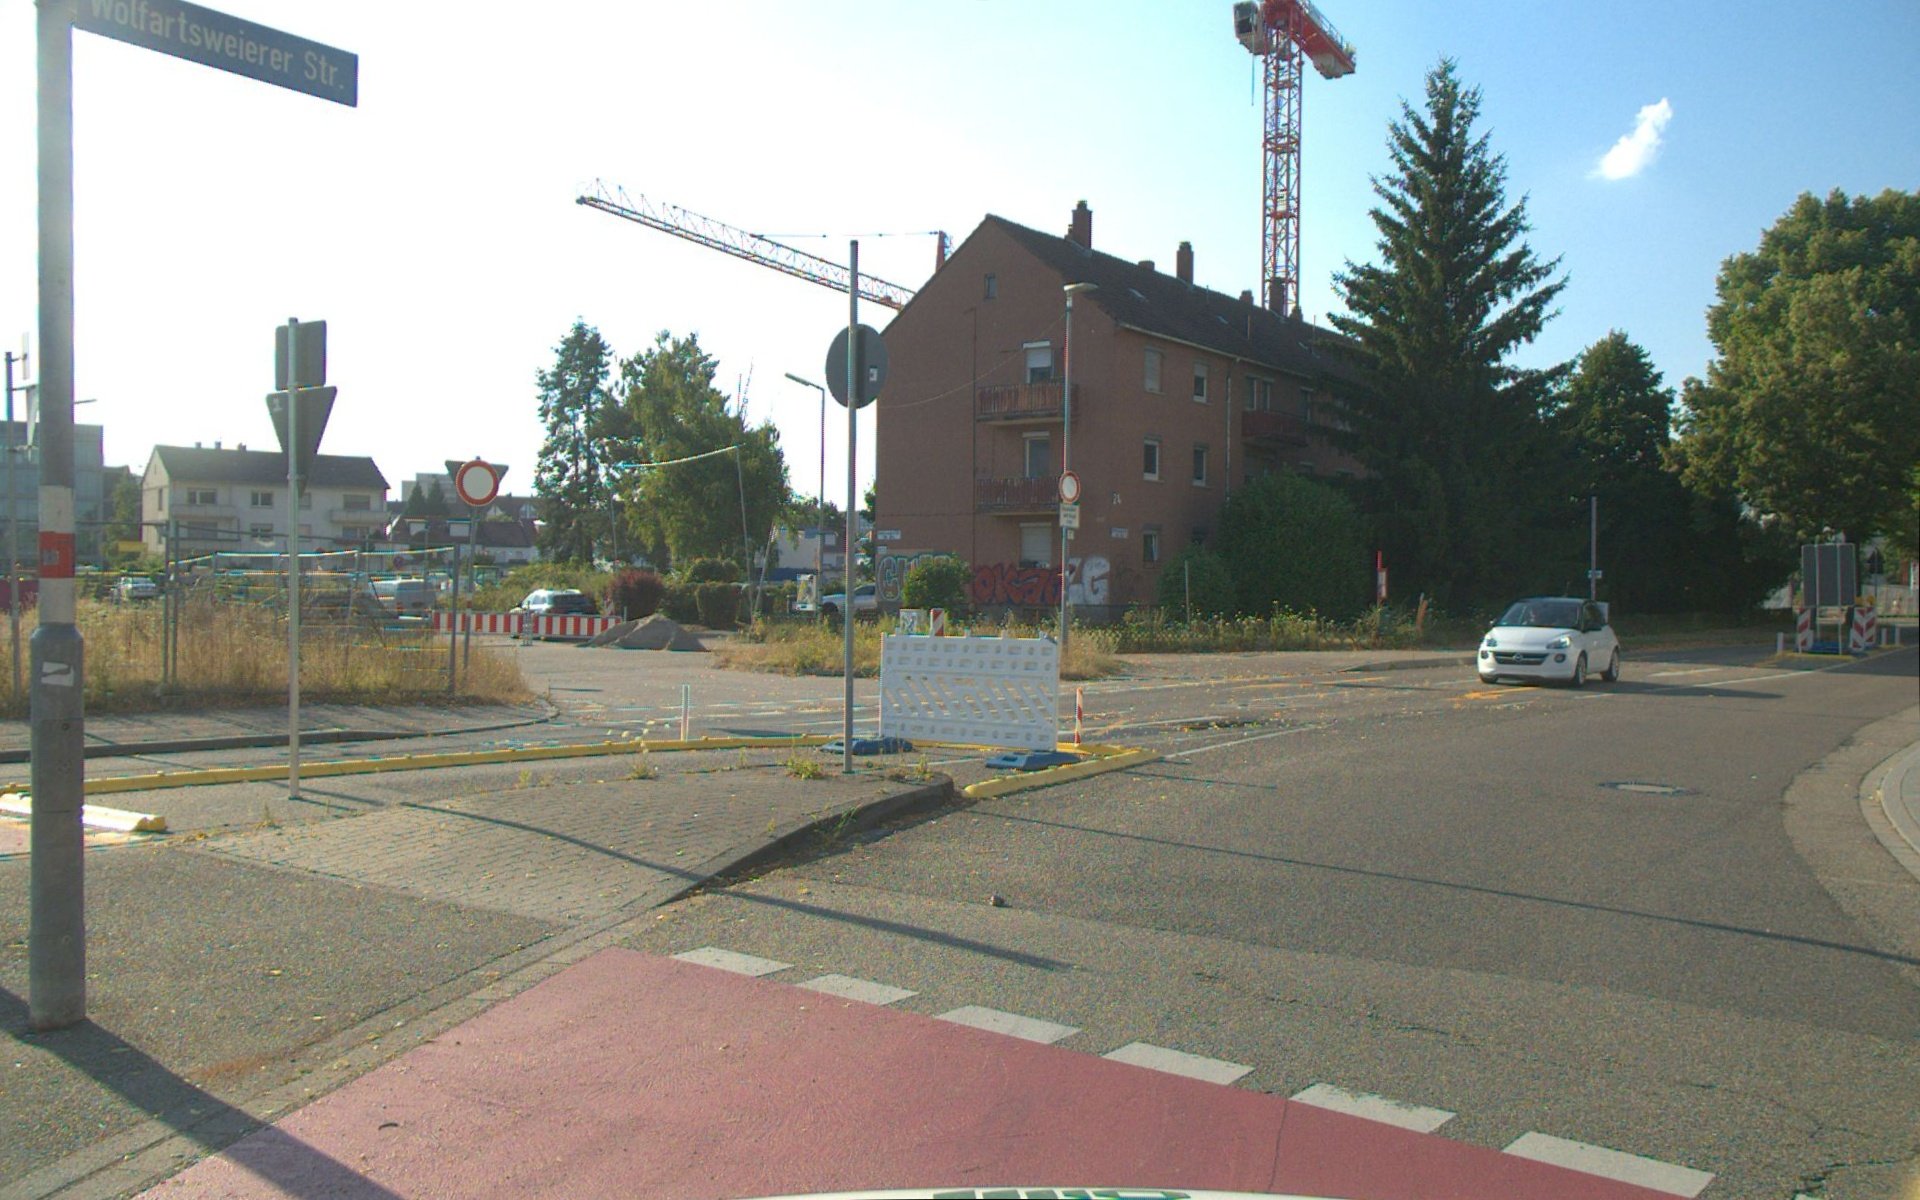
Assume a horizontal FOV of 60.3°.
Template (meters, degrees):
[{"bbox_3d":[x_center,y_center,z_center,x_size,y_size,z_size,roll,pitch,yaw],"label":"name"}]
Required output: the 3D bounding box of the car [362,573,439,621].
[{"bbox_3d":[-23.730,-0.154,70.033,1.850,1.982,3.944,0,0,-39],"label":"car"}]

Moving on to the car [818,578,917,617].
[{"bbox_3d":[-3.857,-0.102,69.313,3.903,1.557,2.001,1,0,3],"label":"car"}]

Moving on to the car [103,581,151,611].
[{"bbox_3d":[-55.074,-0.266,109.284,2.130,1.870,4.304,1,0,-37],"label":"car"}]

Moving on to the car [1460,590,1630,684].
[{"bbox_3d":[10.163,0.598,28.608,1.730,1.446,3.609,3,1,37],"label":"car"}]

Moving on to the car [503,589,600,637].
[{"bbox_3d":[-14.161,0.417,57.179,1.977,1.579,3.951,0,0,-35],"label":"car"}]
